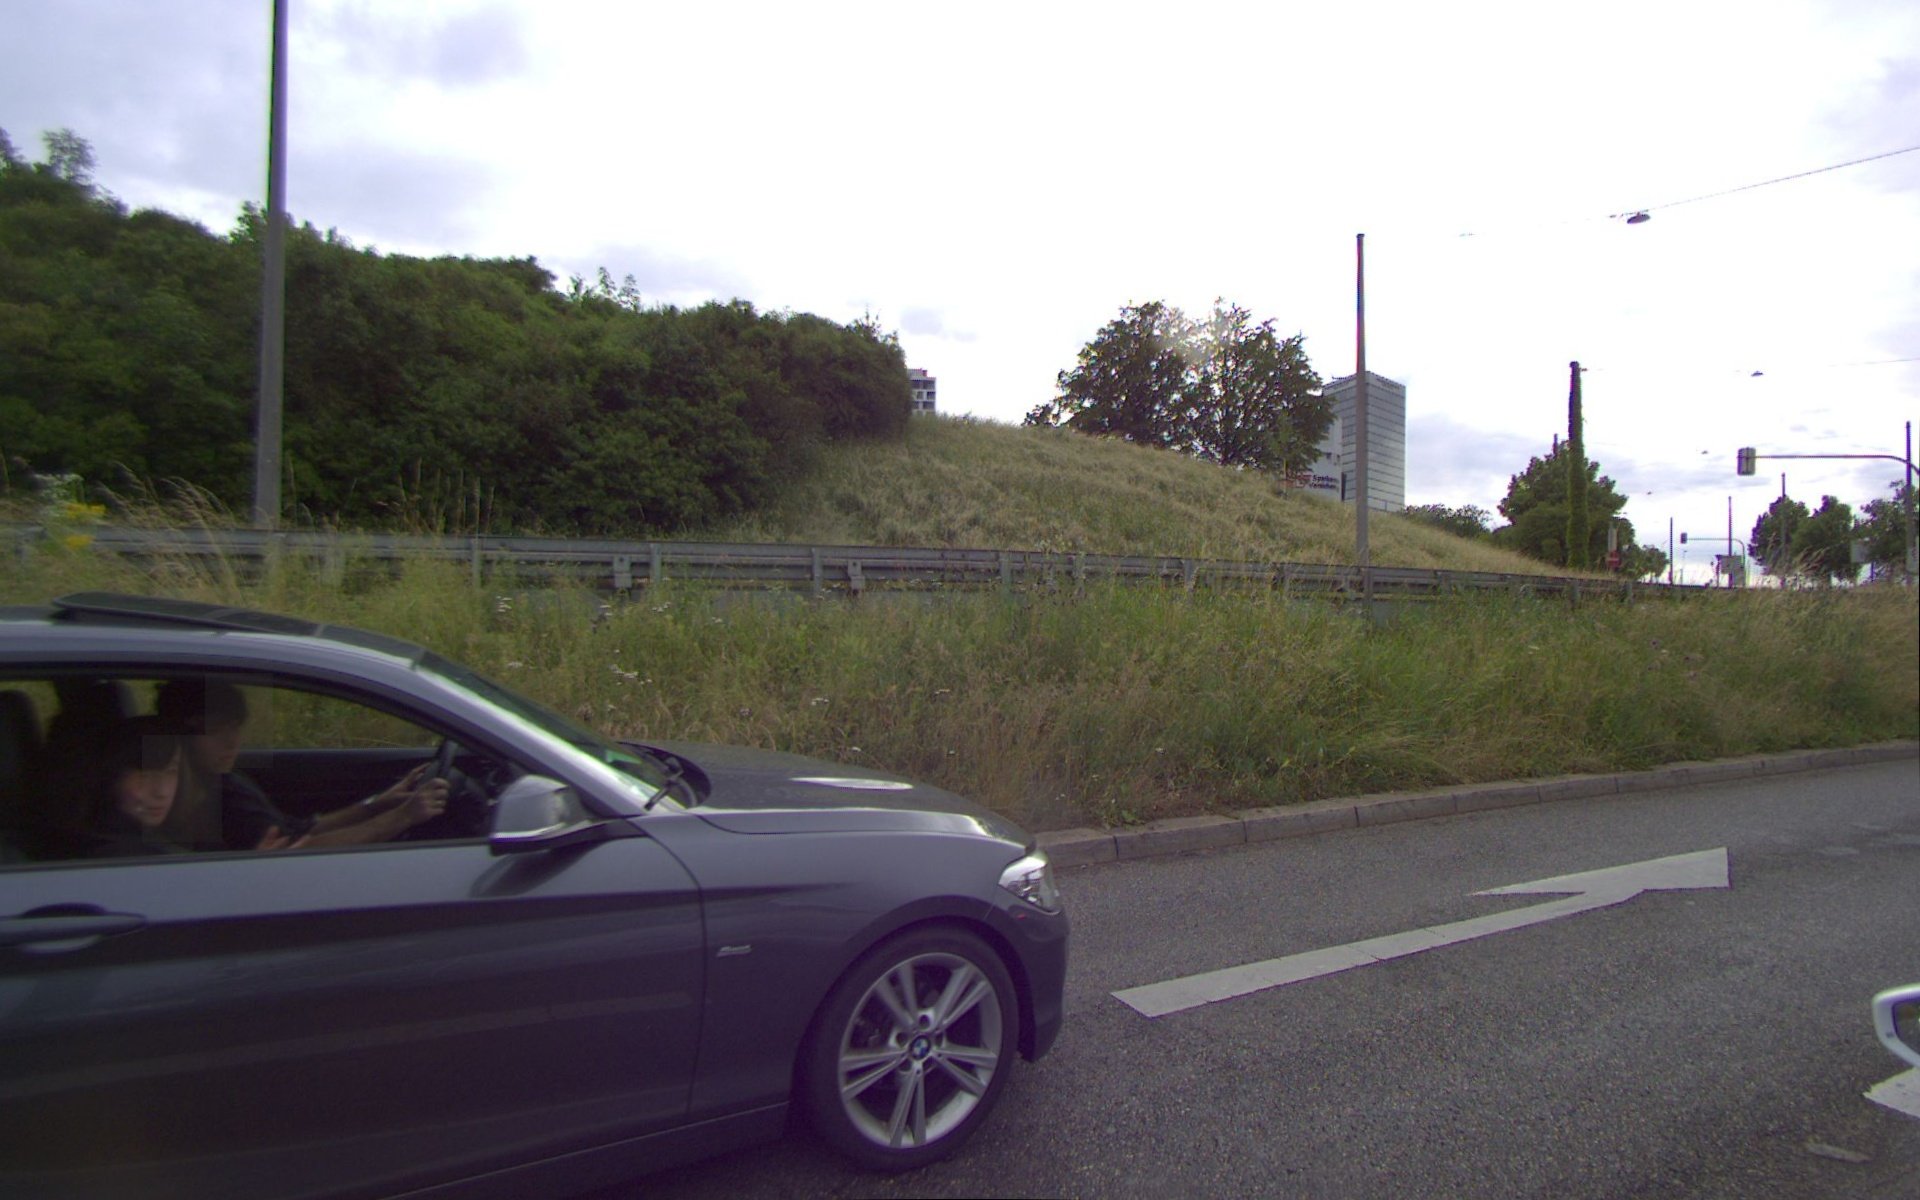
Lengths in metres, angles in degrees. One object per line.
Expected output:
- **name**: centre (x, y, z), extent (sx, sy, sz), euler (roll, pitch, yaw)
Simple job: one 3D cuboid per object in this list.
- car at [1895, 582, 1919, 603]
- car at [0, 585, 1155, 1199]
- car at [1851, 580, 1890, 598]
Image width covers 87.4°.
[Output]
- **car**: centre (84.663, -0.654, 88.435), extent (1.962, 1.681, 4.542), euler (2, 0, 24)
- **car**: centre (-1.589, 0.727, 2.649), extent (4.069, 1.479, 1.693), euler (2, -1, -32)
- **car**: centre (93.557, -1.077, 103.293), extent (1.964, 1.681, 4.537), euler (2, 0, 29)
